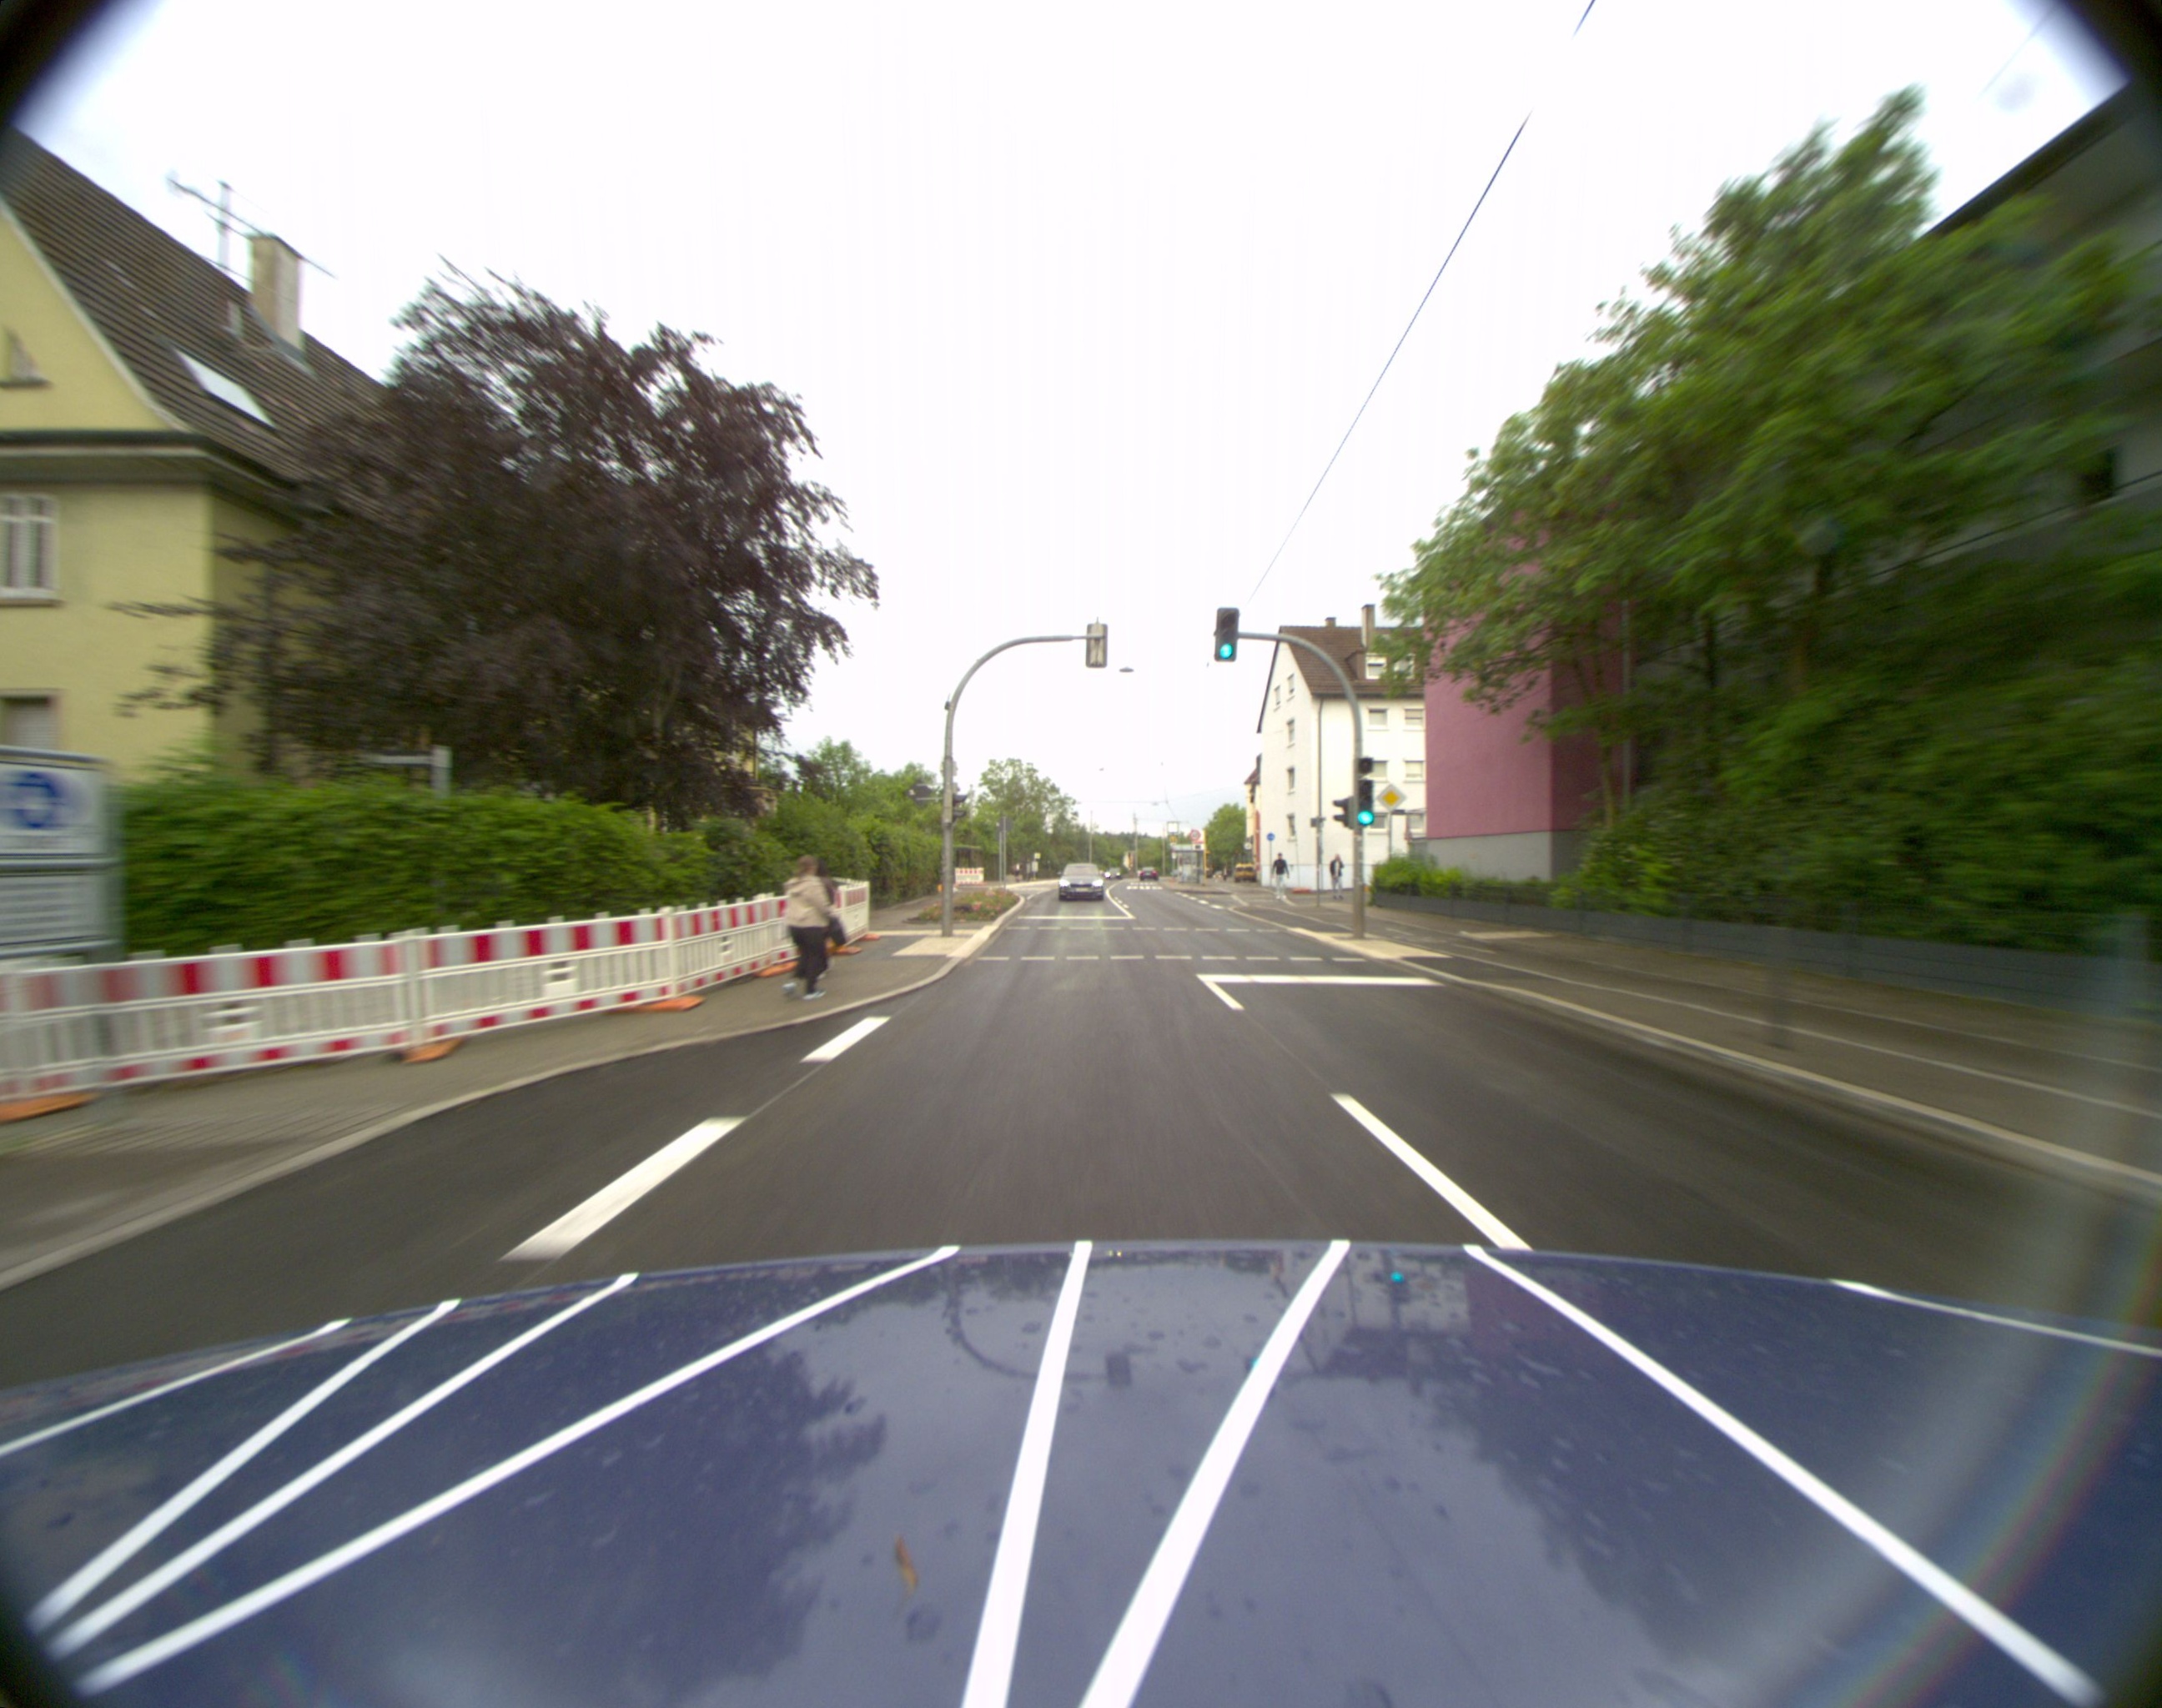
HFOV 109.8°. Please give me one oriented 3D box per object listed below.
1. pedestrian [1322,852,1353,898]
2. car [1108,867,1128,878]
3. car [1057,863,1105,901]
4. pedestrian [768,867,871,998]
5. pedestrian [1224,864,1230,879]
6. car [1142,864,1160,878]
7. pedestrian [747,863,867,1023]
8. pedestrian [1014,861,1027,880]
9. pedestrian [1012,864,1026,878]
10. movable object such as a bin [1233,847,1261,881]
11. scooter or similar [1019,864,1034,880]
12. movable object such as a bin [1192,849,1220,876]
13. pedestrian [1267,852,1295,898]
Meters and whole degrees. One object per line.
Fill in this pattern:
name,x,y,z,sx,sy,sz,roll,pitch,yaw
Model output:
pedestrian,10.303,0.836,30.568,0.808,1.810,1.116,-1,-1,-1
car,4.519,2.255,92.596,1.604,1.294,3.718,-1,-2,15
car,-0.003,1.110,30.996,1.837,1.429,4.001,-1,-1,0
pedestrian,-3.321,0.962,9.750,0.877,1.551,1.049,-1,1,2
pedestrian,14.594,1.777,76.013,0.603,1.519,1.039,-2,-1,10
car,7.636,1.822,82.962,1.786,1.444,4.393,0,-1,8
pedestrian,-3.035,0.940,8.553,0.785,1.632,1.222,-1,1,4
pedestrian,-5.012,1.333,62.510,0.922,1.537,0.543,0,0,-32
pedestrian,-5.867,1.602,71.666,1.070,1.321,0.808,0,0,-32
movable object such as a bin,14.624,0.891,66.891,2.132,2.789,4.985,-2,-2,14
scooter or similar,-4.468,1.441,62.568,1.245,1.307,0.231,0,0,-35
movable object such as a bin,18.981,1.339,114.788,2.951,3.820,8.140,-1,-1,18
pedestrian,8.329,0.882,31.612,0.864,1.871,1.044,0,-1,-2
